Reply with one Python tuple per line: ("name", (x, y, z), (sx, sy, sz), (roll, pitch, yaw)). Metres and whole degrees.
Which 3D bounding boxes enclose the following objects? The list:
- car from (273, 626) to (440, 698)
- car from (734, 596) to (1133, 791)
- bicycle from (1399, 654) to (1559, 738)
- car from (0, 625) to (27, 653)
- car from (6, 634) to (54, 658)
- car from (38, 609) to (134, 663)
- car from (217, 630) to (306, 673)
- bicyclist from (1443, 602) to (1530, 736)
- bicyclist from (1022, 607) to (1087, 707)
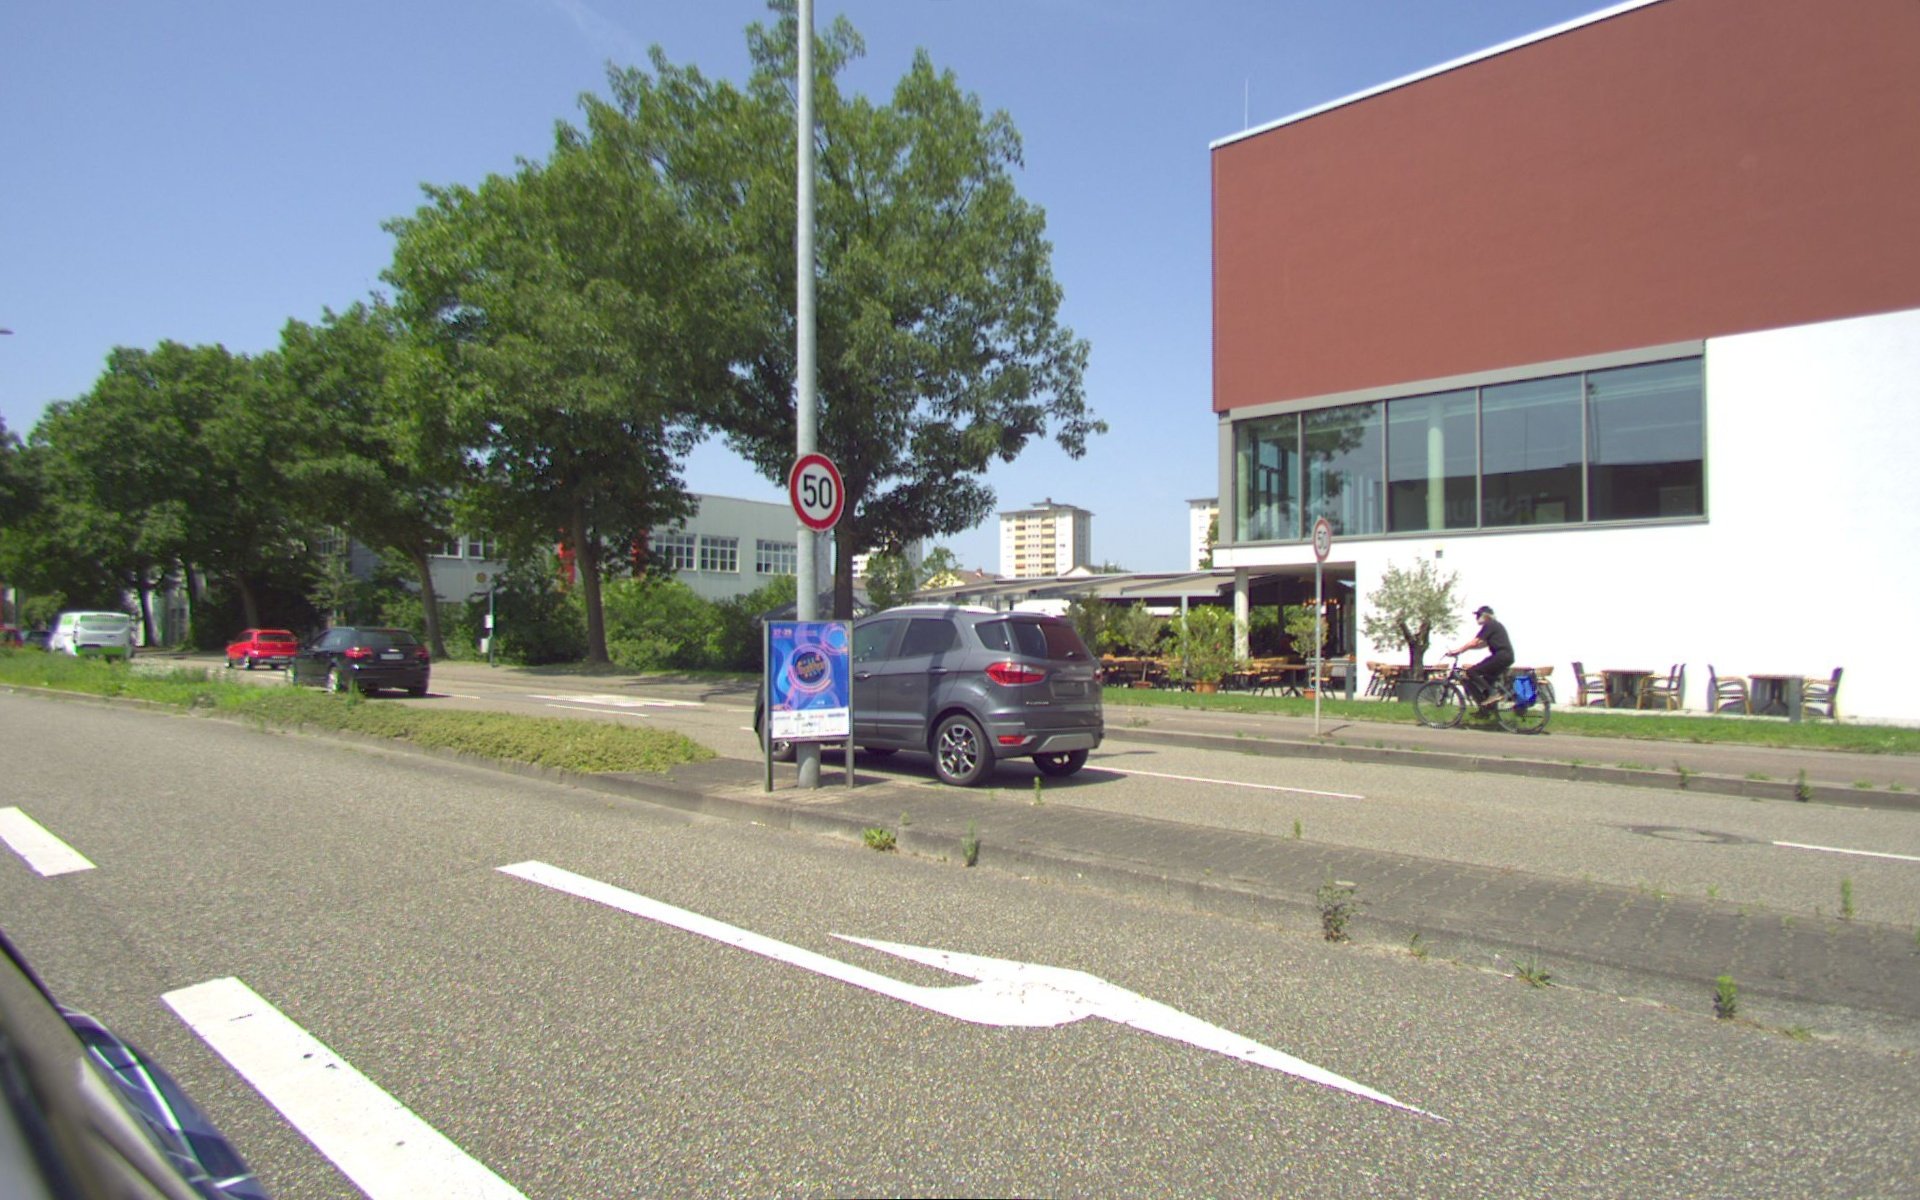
("car", (-12.547, 1.267, 20.970), (3.996, 1.349, 1.662), (-1, -5, 39))
("car", (-0.376, 0.855, 10.271), (3.881, 1.612, 1.670), (-1, -5, 40))
("bicycle", (7.248, 1.310, 14.186), (1.883, 1.059, 0.648), (-1, -2, 41))
("car", (-51.649, 2.068, 54.471), (3.605, 1.452, 1.564), (-1, -4, 39))
("car", (-60.328, 2.997, 65.659), (4.130, 1.462, 1.731), (-2, -5, 41))
("car", (-33.970, 1.403, 39.293), (4.904, 1.960, 1.973), (-1, -4, 40))
("car", (-25.534, 1.868, 36.935), (3.889, 1.464, 1.688), (-2, -5, 41))
("bicyclist", (7.339, 0.938, 14.115), (0.927, 1.783, 0.643), (-2, -2, 41))
("bicyclist", (1.606, 0.954, 17.180), (0.923, 1.643, 0.601), (-1, -3, 41))
